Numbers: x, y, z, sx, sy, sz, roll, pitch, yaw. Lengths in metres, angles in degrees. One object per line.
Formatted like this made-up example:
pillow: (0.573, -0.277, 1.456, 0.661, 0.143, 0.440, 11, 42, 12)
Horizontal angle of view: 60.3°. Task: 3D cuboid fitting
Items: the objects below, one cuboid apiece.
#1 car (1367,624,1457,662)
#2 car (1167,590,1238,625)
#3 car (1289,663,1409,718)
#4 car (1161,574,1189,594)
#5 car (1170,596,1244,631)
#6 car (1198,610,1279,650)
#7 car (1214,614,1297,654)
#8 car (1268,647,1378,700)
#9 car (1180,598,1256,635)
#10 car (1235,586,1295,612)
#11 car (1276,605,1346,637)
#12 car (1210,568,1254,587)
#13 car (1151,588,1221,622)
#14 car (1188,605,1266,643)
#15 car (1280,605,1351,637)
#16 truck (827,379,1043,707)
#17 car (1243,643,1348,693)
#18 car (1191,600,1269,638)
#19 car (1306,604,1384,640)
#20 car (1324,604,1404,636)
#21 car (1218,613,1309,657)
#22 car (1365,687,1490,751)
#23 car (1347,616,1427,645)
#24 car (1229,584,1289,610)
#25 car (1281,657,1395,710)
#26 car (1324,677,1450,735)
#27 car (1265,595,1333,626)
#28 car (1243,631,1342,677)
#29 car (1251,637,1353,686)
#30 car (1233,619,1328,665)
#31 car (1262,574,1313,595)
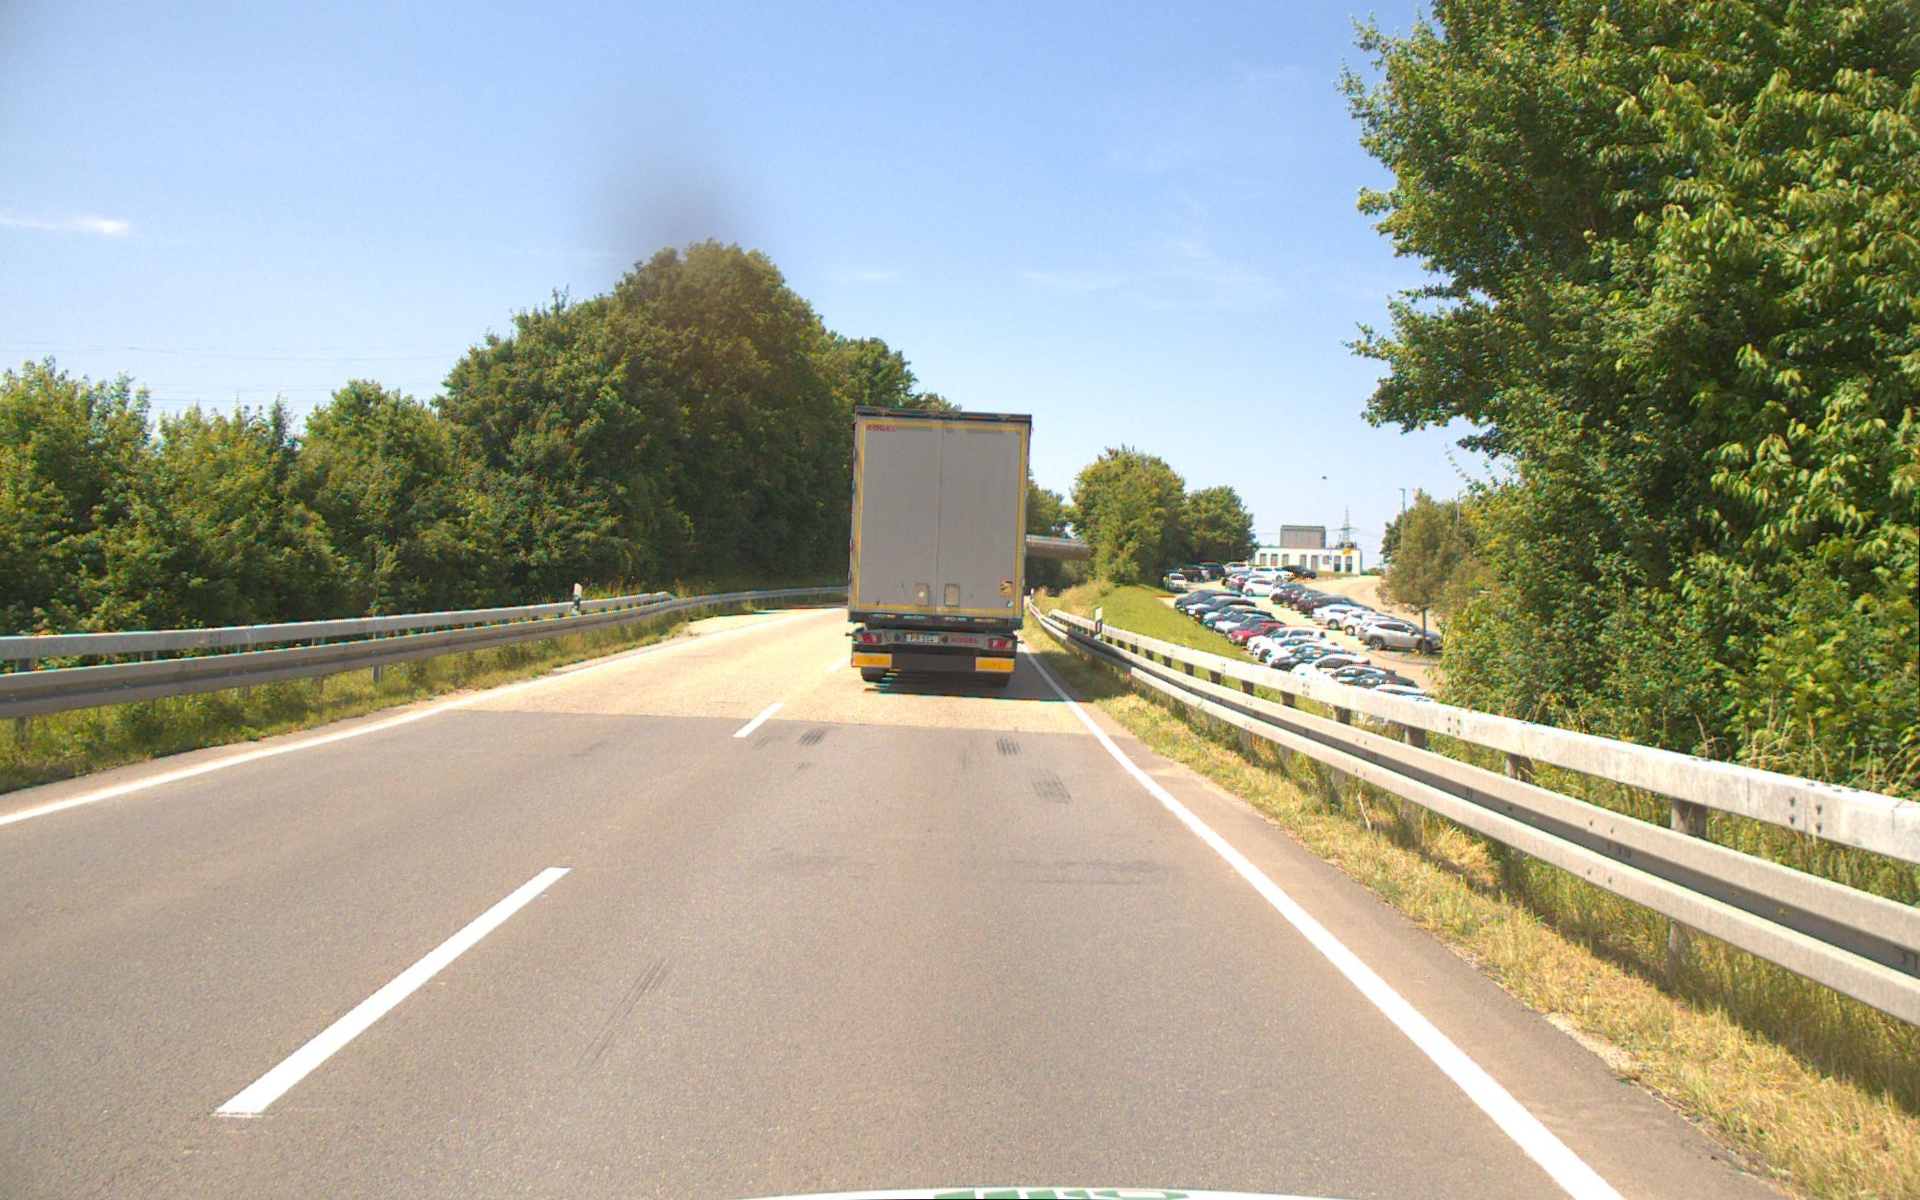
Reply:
car: (25.074, 2.382, 91.820, 4.484, 1.656, 1.819, 4, 4, 27)
car: (16.216, 0.510, 110.687, 4.312, 1.713, 1.874, 6, 3, -27)
car: (15.834, 3.659, 67.342, 4.285, 1.480, 1.816, 9, 3, 29)
car: (18.103, -1.362, 139.209, 1.593, 1.376, 3.711, 7, 3, -2)
car: (16.028, 0.881, 107.413, 4.312, 1.713, 1.874, 6, 3, -27)
car: (15.831, 1.715, 94.007, 4.327, 1.713, 1.867, 6, 3, -36)
car: (16.339, 1.879, 91.381, 4.327, 1.713, 1.867, 6, 3, -36)
car: (16.037, 3.208, 73.092, 4.282, 1.584, 1.860, 9, 3, 26)
car: (16.286, 1.049, 104.203, 4.312, 1.713, 1.874, 6, 3, -27)
car: (24.781, -0.106, 134.393, 4.481, 1.656, 1.820, 6, 2, 23)
car: (25.720, 1.539, 121.223, 4.490, 1.655, 1.818, 9, 3, 28)
car: (29.081, -2.440, 176.605, 4.310, 1.714, 1.874, 2, 5, -27)
car: (15.474, 0.328, 113.413, 4.312, 1.713, 1.874, 6, 3, -27)
car: (15.756, 1.425, 97.575, 4.327, 1.713, 1.867, 6, 3, -36)
car: (25.443, 1.495, 118.247, 4.490, 1.655, 1.818, 9, 3, 28)
truck: (-0.404, -0.863, 28.075, 2.808, 4.435, 9.788, 3, 1, -1)
car: (15.469, 3.111, 76.244, 4.282, 1.584, 1.886, 9, 3, 26)
car: (16.463, 1.144, 100.941, 4.312, 1.713, 1.874, 6, 3, -27)
car: (25.046, 1.429, 107.560, 4.490, 1.655, 1.818, 9, 3, 28)
car: (25.342, 1.250, 103.780, 4.491, 1.545, 1.816, 5, 6, 32)
car: (16.252, 1.865, 88.643, 4.300, 1.713, 1.878, 7, 3, -21)
car: (17.087, 4.334, 60.485, 4.036, 1.543, 1.678, 9, 3, 25)
car: (25.956, 1.856, 100.571, 4.483, 1.503, 1.819, 1, 4, 27)
car: (24.789, -0.259, 137.007, 4.482, 1.656, 1.820, 7, 2, 23)
car: (15.998, 3.499, 70.033, 4.282, 1.480, 1.817, 9, 3, 26)
car: (16.446, 4.049, 63.784, 4.285, 1.417, 1.816, 9, 3, 29)
car: (25.473, 0.757, 124.282, 4.490, 1.655, 1.818, 9, 3, 28)
car: (16.434, 2.655, 81.729, 4.288, 1.584, 1.884, 9, 3, 31)
car: (16.155, 2.886, 78.136, 4.282, 1.584, 1.886, 9, 3, 26)
car: (16.502, 2.139, 85.128, 4.361, 1.713, 1.887, 9, 3, 23)
car: (32.109, -1.498, 162.166, 4.497, 1.656, 1.813, 6, 1, 36)
